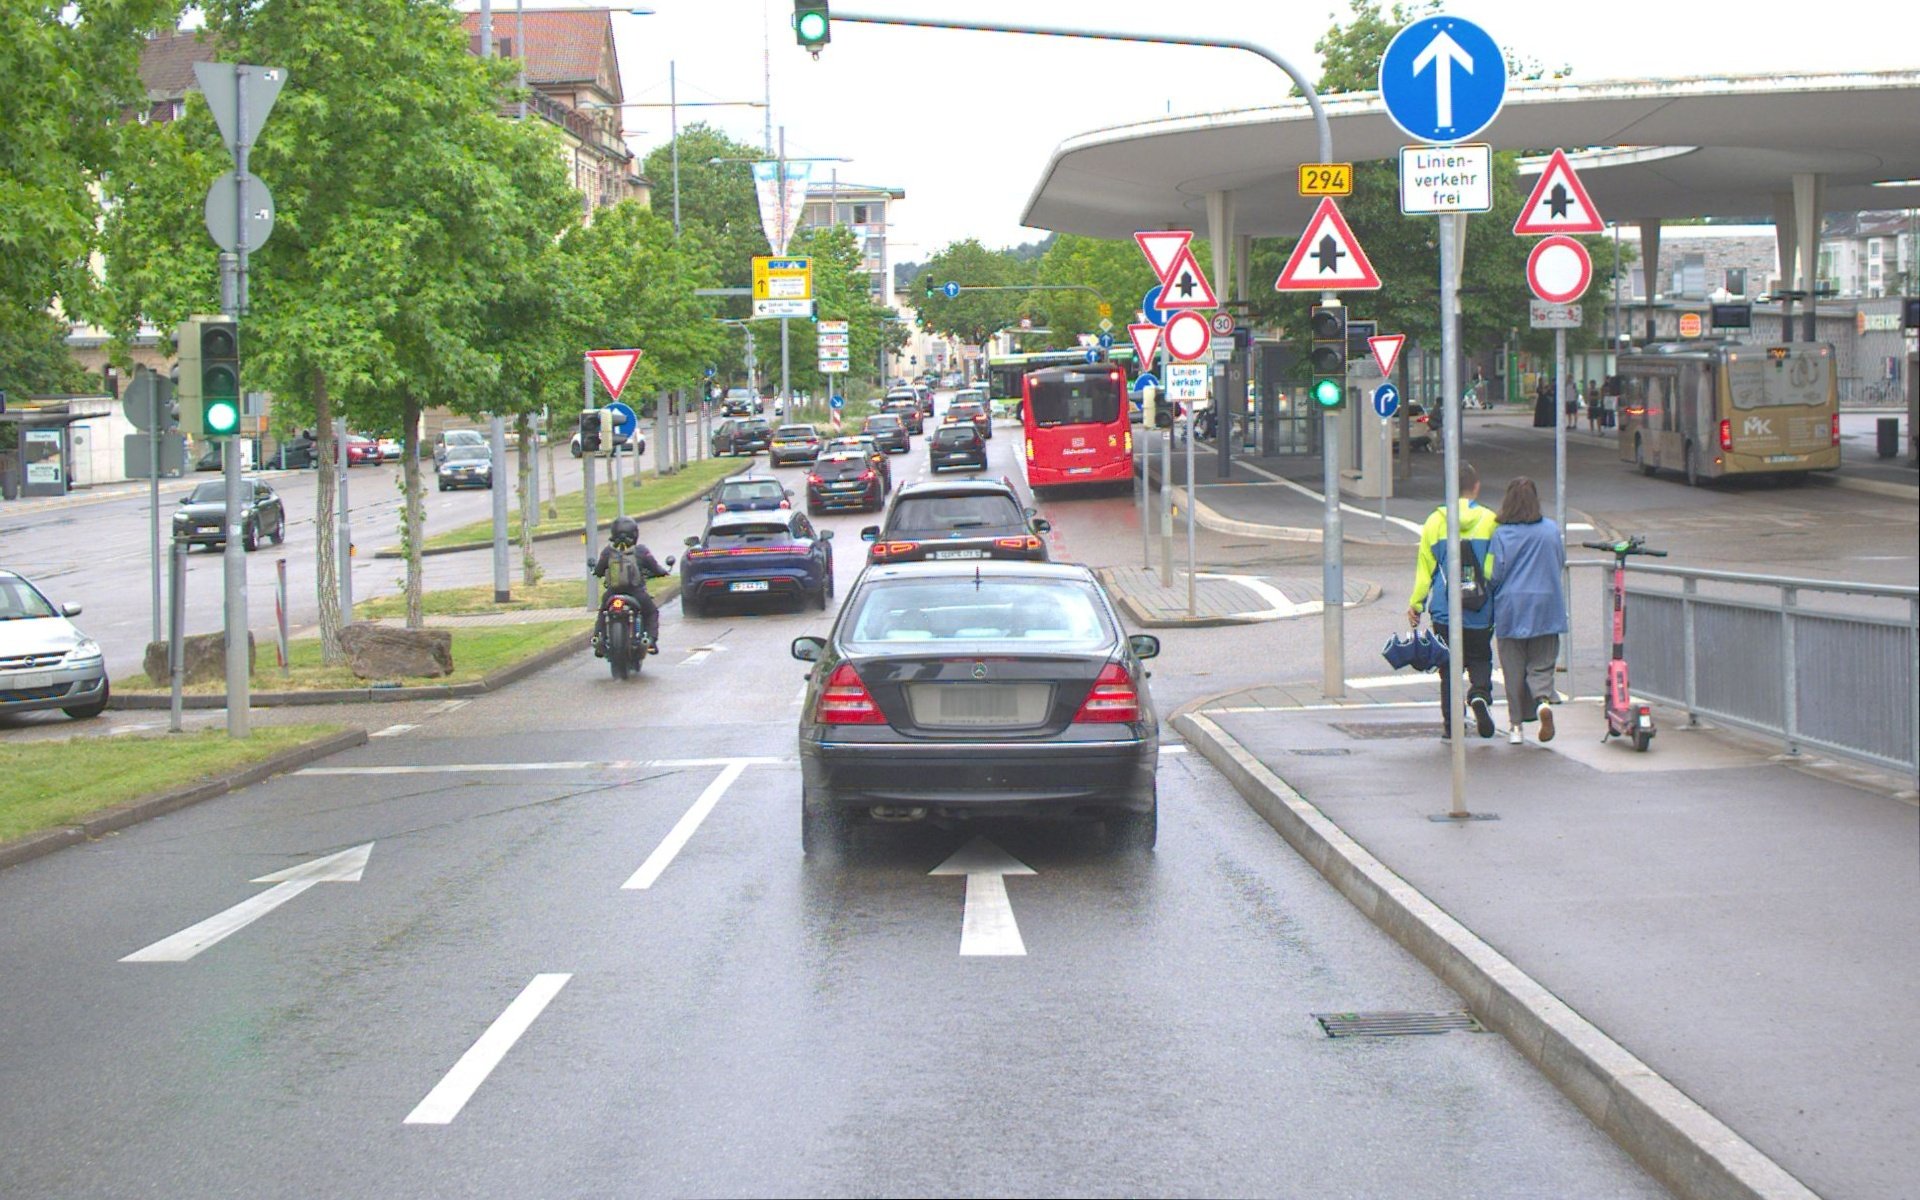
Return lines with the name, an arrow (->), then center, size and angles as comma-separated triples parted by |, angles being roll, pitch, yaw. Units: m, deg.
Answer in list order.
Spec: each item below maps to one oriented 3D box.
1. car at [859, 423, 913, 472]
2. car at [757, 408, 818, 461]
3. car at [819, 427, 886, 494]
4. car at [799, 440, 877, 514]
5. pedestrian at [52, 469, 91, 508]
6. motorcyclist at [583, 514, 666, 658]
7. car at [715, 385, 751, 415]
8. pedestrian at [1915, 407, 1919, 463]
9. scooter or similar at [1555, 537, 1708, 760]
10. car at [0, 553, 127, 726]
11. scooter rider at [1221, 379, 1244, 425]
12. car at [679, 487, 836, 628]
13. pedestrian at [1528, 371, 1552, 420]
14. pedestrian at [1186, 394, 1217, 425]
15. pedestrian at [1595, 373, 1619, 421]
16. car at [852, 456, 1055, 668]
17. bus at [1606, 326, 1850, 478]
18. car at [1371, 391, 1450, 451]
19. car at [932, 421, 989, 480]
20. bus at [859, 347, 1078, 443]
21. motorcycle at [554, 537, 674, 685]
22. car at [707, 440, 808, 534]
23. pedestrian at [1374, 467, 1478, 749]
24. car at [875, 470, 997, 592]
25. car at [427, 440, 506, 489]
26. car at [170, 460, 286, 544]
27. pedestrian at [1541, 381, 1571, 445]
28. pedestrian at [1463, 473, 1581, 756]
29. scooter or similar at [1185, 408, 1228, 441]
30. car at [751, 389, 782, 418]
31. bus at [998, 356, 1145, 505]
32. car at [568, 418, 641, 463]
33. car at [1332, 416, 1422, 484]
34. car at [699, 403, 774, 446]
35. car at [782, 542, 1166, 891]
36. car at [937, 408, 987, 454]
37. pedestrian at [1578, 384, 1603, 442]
car -> -2.693, -5.526, 125.015 | 1.865, 1.678, 4.000 | 1, 1, 0
car -> -5.871, -5.641, 117.395 | 1.865, 1.678, 4.000 | 1, 1, 0
car -> -2.871, -3.763, 92.452 | 1.575, 1.561, 3.872 | -4, 4, 0
car -> -2.907, -2.985, 82.750 | 1.575, 1.499, 3.872 | -4, 4, 1
pedestrian -> -30.694, -3.845, 118.755 | 0.977, 1.263, 0.849 | 3, 6, 21
motorcyclist -> -3.300, -0.143, 33.887 | 0.641, 1.342, 0.689 | -3, 4, 4
car -> -13.202, -11.677, 200.222 | 1.780, 1.561, 3.431 | -4, 4, 0
pedestrian -> 21.839, -3.716, 77.053 | 0.793, 1.222, 0.633 | -1, 4, 18
scooter or similar -> 3.871, 0.259, 19.914 | 0.463, 1.217, 1.859 | -2, 1, 0
car -> -9.250, 0.361, 31.918 | 1.632, 1.443, 3.876 | -5, 3, -33
scooter rider -> 8.973, -6.501, 113.096 | 0.592, 1.484, 0.764 | -1, 3, 14
car -> -2.791, -0.638, 48.217 | 1.816, 1.565, 4.405 | -4, 4, 0
pedestrian -> 19.135, -6.751, 113.452 | 0.580, 1.573, 0.560 | 2, 1, 30
pedestrian -> 7.964, -6.275, 113.127 | 0.914, 0.981, 0.633 | 0, 0, 14
pedestrian -> 21.375, -6.705, 113.577 | 0.580, 1.573, 0.560 | 2, 1, 35
car -> -0.064, -0.492, 37.799 | 1.957, 1.869, 4.875 | -4, 4, 0
bus -> 17.137, -4.552, 77.696 | 2.721, 3.032, 12.092 | -3, 4, 0
car -> 13.282, -5.312, 101.540 | 1.712, 1.656, 4.241 | -1, 4, -1
car -> 0.019, -4.563, 104.679 | 1.575, 1.561, 3.872 | -4, 4, 0
bus -> 0.265, -9.134, 154.011 | 2.839, 3.973, 11.860 | -5, 5, -38
motorcycle -> -3.379, 0.091, 33.730 | 0.793, 1.257, 1.855 | -3, 4, 4
car -> -4.063, -2.305, 69.502 | 1.676, 1.617, 3.872 | -4, 4, 0
pedestrian -> 2.796, 0.043, 20.661 | 0.522, 1.664, 0.580 | -1, 1, 0
car -> -0.359, -1.113, 53.813 | 1.741, 1.561, 3.872 | -4, 4, 0
car -> -16.858, -4.662, 117.585 | 1.847, 1.499, 4.920 | -2, 4, 1
car -> -17.211, -2.332, 80.999 | 1.908, 1.656, 4.860 | -2, 5, -3
pedestrian -> 19.062, -5.988, 109.963 | 0.724, 2.007, 0.669 | 2, 1, 27
pedestrian -> 3.369, 0.087, 20.623 | 0.589, 1.665, 0.580 | 1, -1, 0
scooter or similar -> 8.131, -5.788, 113.369 | 1.243, 1.009, 0.764 | -1, 3, 14
car -> -11.605, -11.804, 206.165 | 1.575, 1.561, 3.431 | -4, 4, 0
bus -> 2.706, -4.361, 86.183 | 3.286, 3.280, 10.880 | -3, 4, 1
car -> -15.037, -6.734, 145.312 | 1.641, 1.798, 3.640 | 1, 1, -30
car -> 9.973, -3.607, 82.324 | 1.647, 1.448, 3.239 | -2, 4, -2
car -> -8.651, -6.767, 132.858 | 1.727, 1.555, 3.769 | -2, 2, -22
car -> 0.056, 0.483, 17.477 | 1.697, 1.457, 4.304 | -1, 2, 0
car -> 0.068, -6.603, 134.739 | 1.865, 1.678, 4.000 | 1, 1, 0
pedestrian -> 18.759, -5.570, 102.230 | 0.560, 1.686, 0.614 | -2, 4, -6
